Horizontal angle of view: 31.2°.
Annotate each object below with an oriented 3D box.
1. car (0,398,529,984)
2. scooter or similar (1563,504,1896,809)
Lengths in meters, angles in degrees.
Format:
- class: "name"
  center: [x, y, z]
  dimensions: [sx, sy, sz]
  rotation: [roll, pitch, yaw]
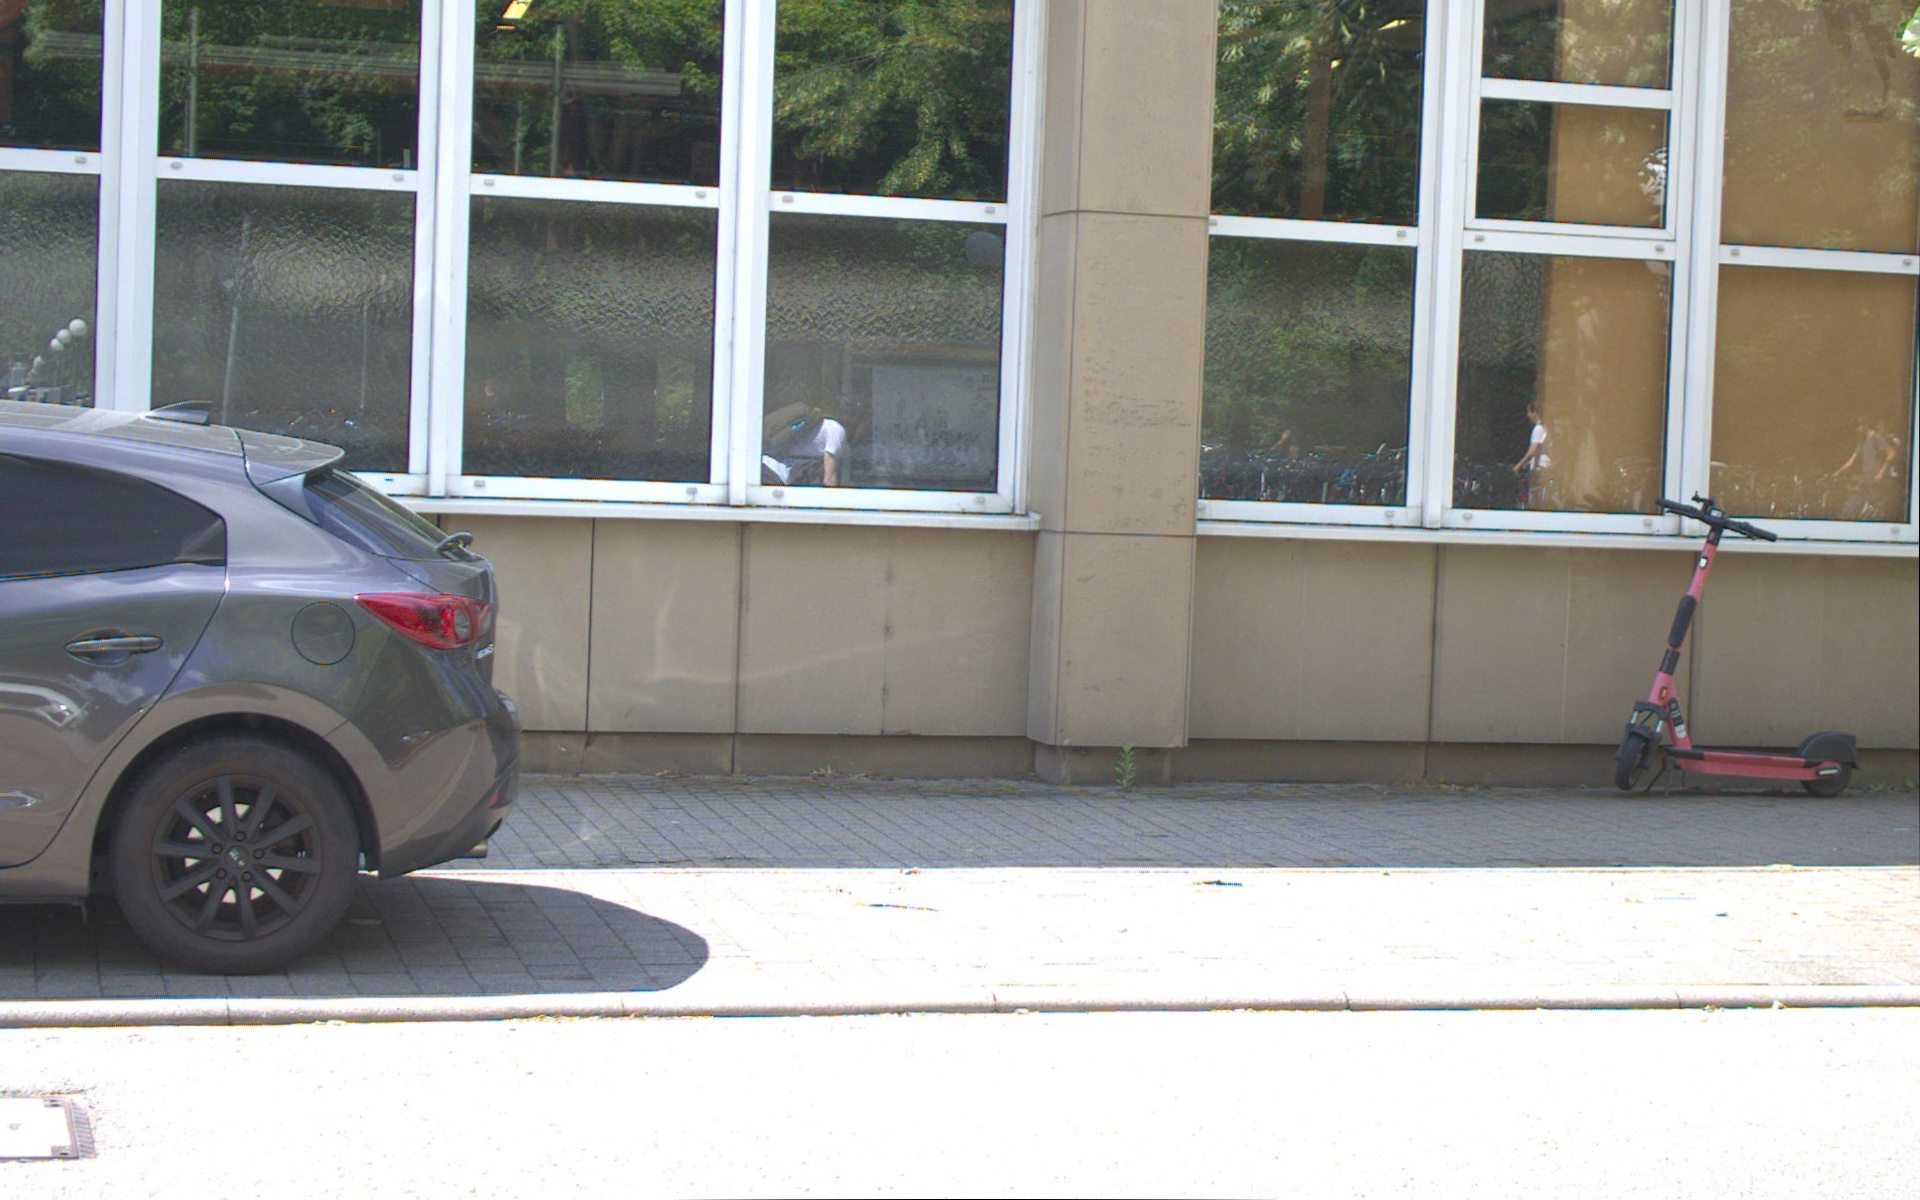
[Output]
- class: "car"
  center: [-3.449, 0.179, 9.343]
  dimensions: [4.274, 1.430, 1.732]
  rotation: [1, 5, -16]
- class: "scooter or similar"
  center: [3.163, 0.231, 14.147]
  dimensions: [1.241, 1.203, 0.384]
  rotation: [1, 5, -16]
